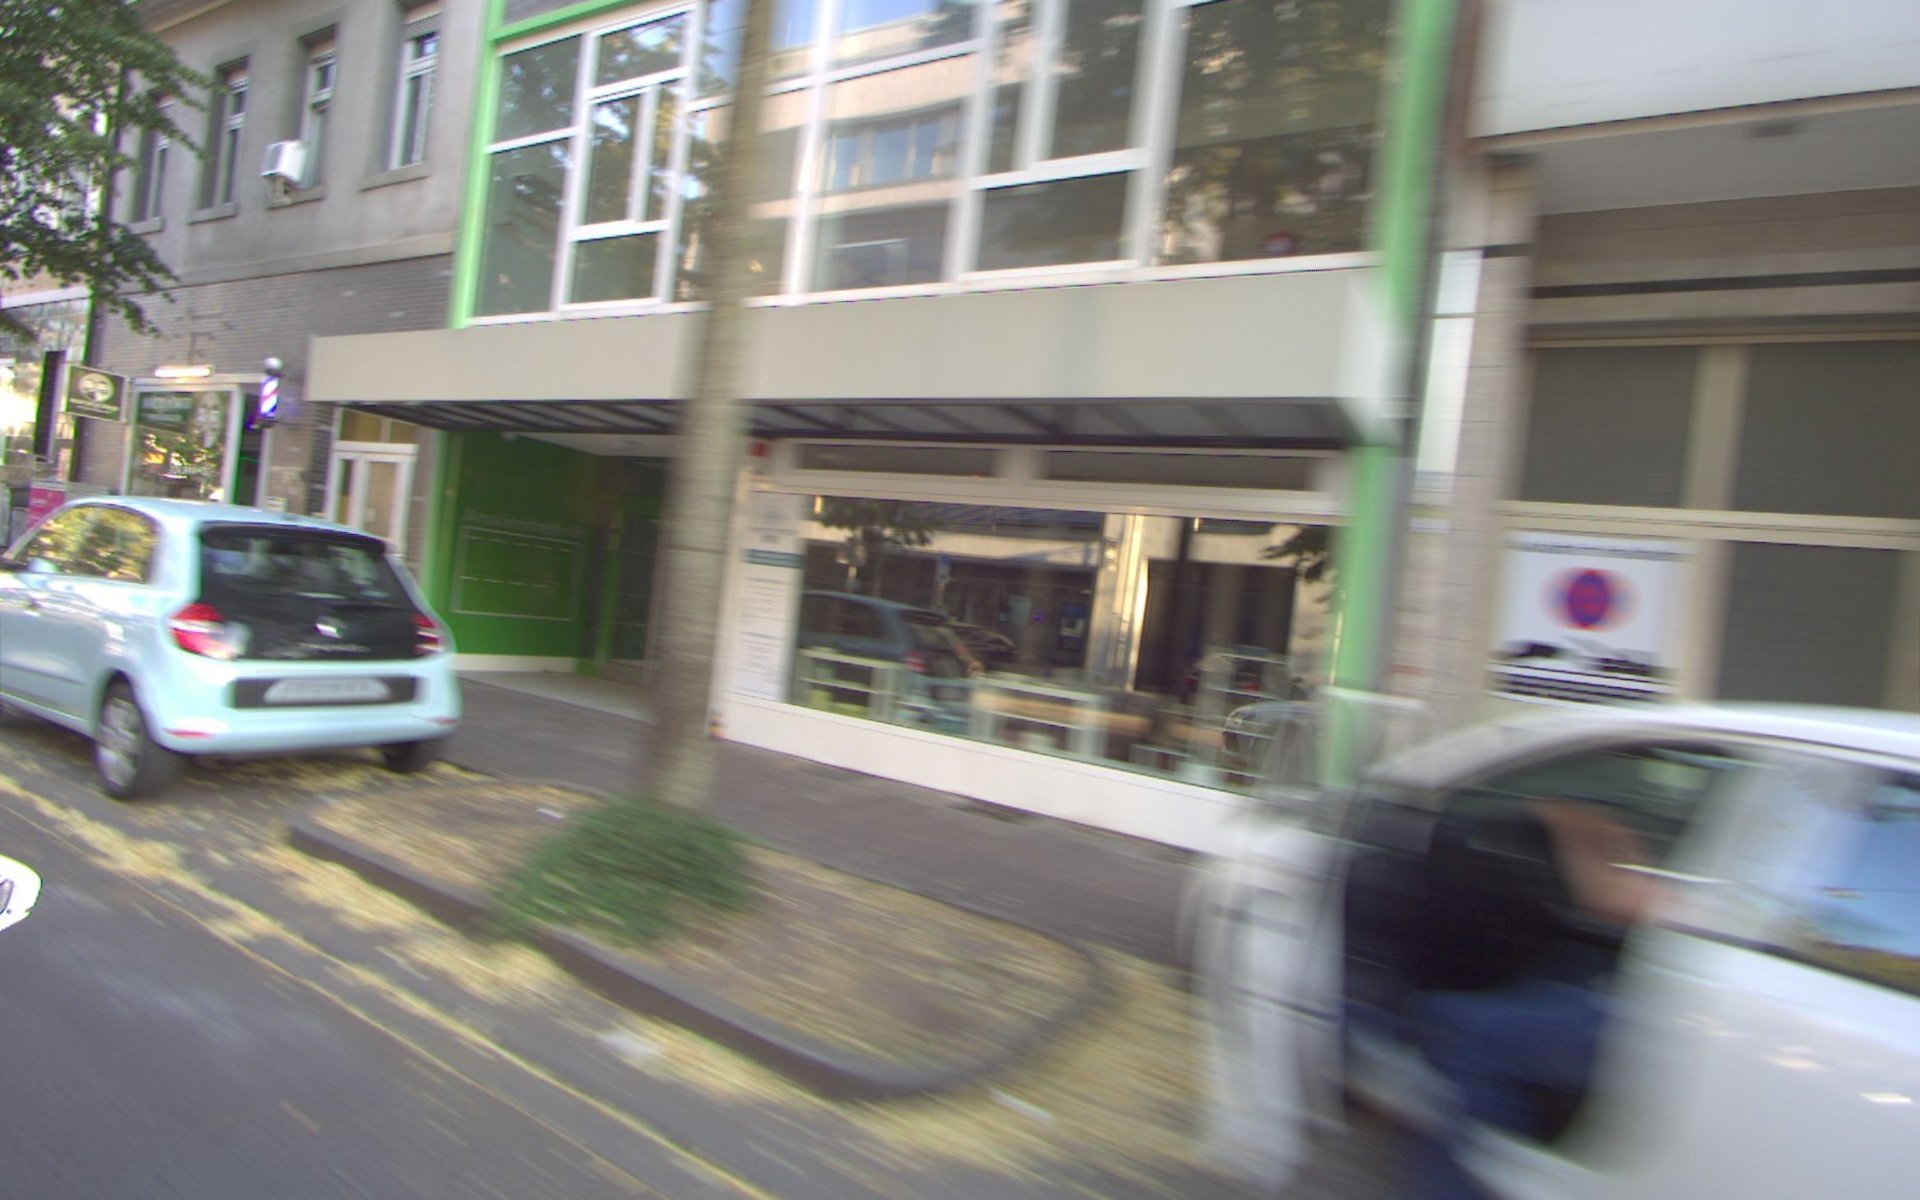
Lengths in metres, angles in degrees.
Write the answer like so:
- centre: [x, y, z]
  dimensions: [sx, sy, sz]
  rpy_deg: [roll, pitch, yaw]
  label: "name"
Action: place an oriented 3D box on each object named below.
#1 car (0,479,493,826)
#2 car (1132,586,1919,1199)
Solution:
- centre: [-4.874, 0.158, 6.404]
  dimensions: [3.493, 1.563, 1.692]
  rpy_deg: [7, 2, 31]
  label: "car"
- centre: [2.093, 0.931, 2.582]
  dimensions: [1.641, 1.605, 3.607]
  rpy_deg: [6, 2, -18]
  label: "car"
